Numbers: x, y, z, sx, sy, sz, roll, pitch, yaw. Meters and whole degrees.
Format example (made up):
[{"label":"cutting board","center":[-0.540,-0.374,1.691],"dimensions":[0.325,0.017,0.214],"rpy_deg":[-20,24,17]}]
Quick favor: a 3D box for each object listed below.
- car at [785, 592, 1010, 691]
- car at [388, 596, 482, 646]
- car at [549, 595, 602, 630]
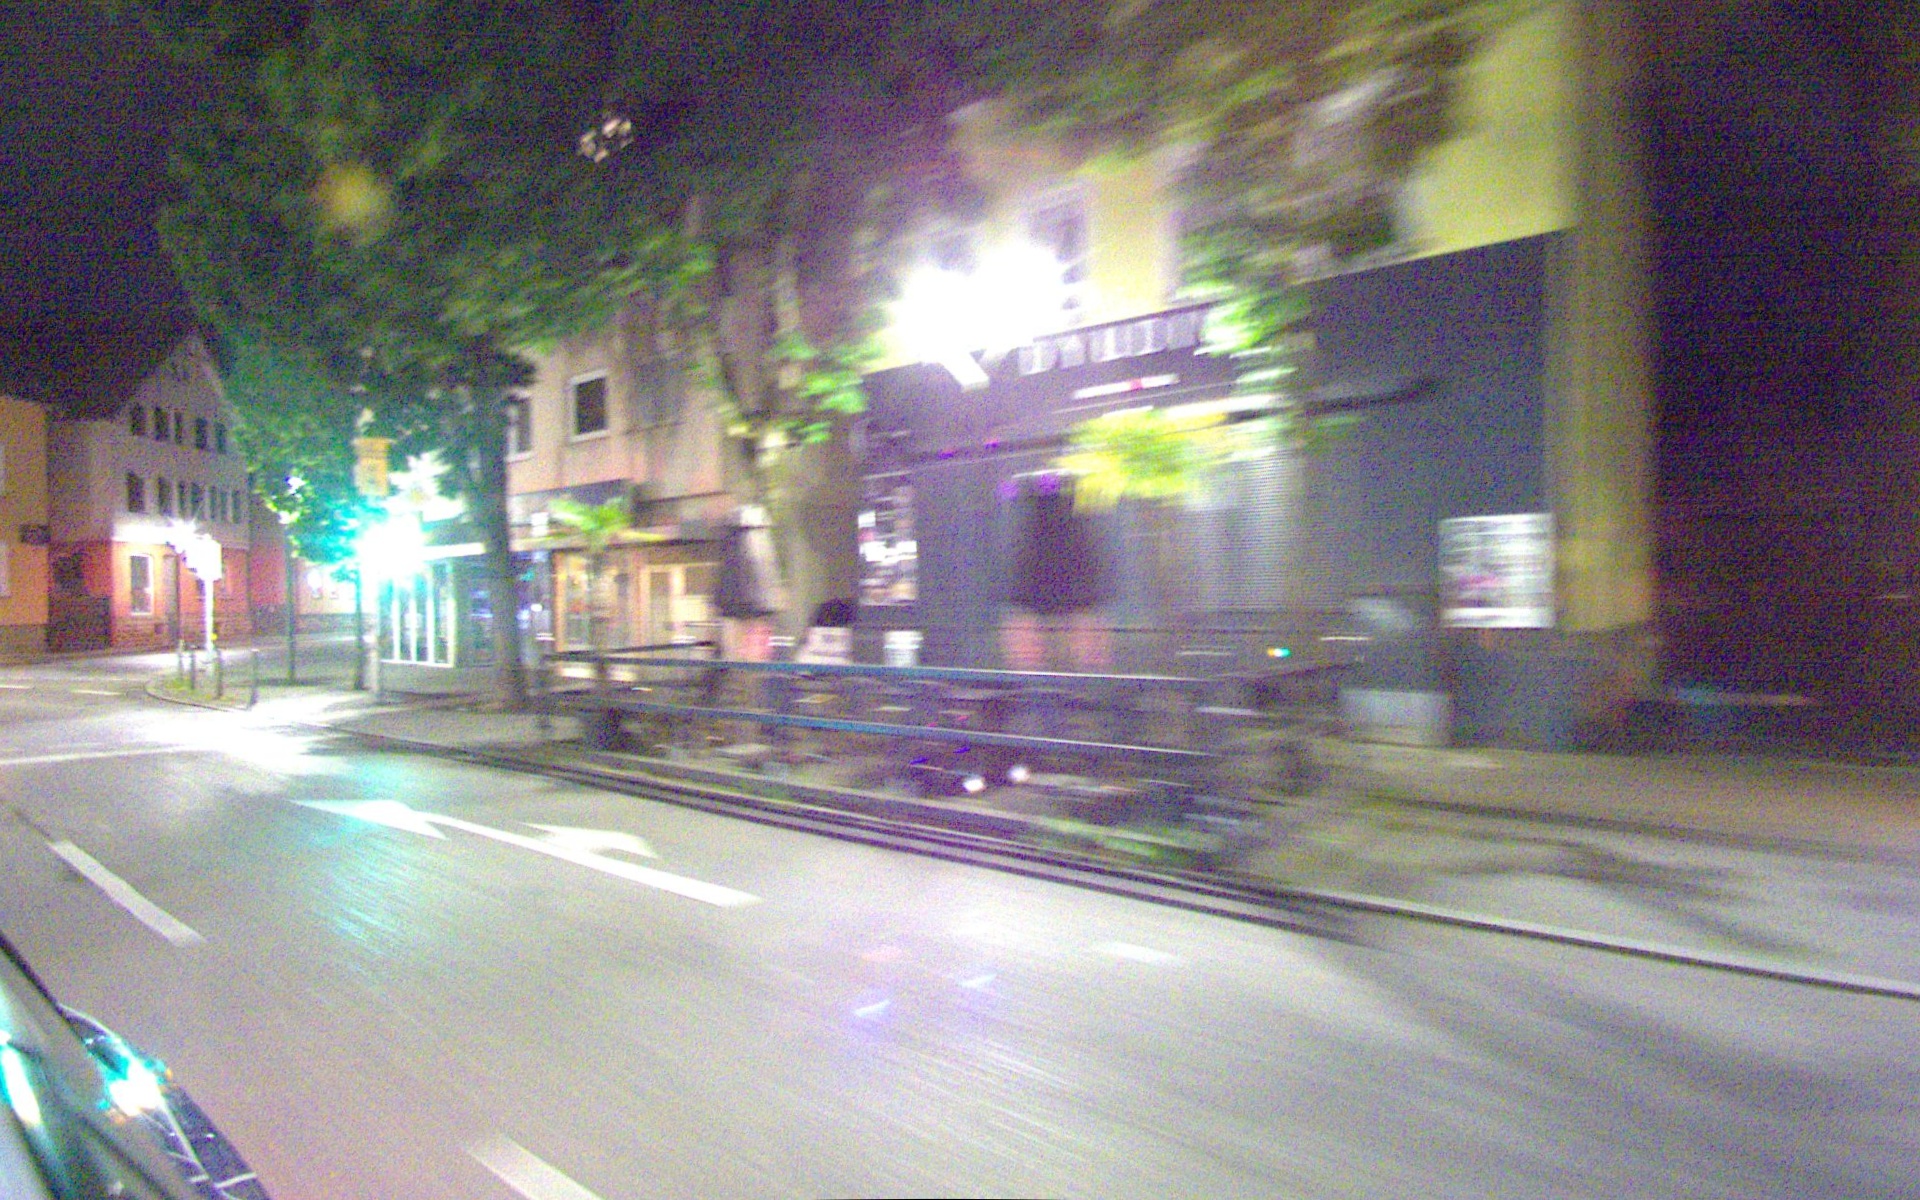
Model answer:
[{"label":"car","center":[-1.009,0.657,18.035],"dimensions":[1.817,1.538,3.949],"rpy_deg":[-1,0,38]},{"label":"car","center":[-20.124,0.761,38.992],"dimensions":[1.899,1.763,4.184],"rpy_deg":[-1,0,-8]},{"label":"car","center":[-22.128,0.686,58.395],"dimensions":[1.899,1.922,4.184],"rpy_deg":[-1,0,-8]}]
